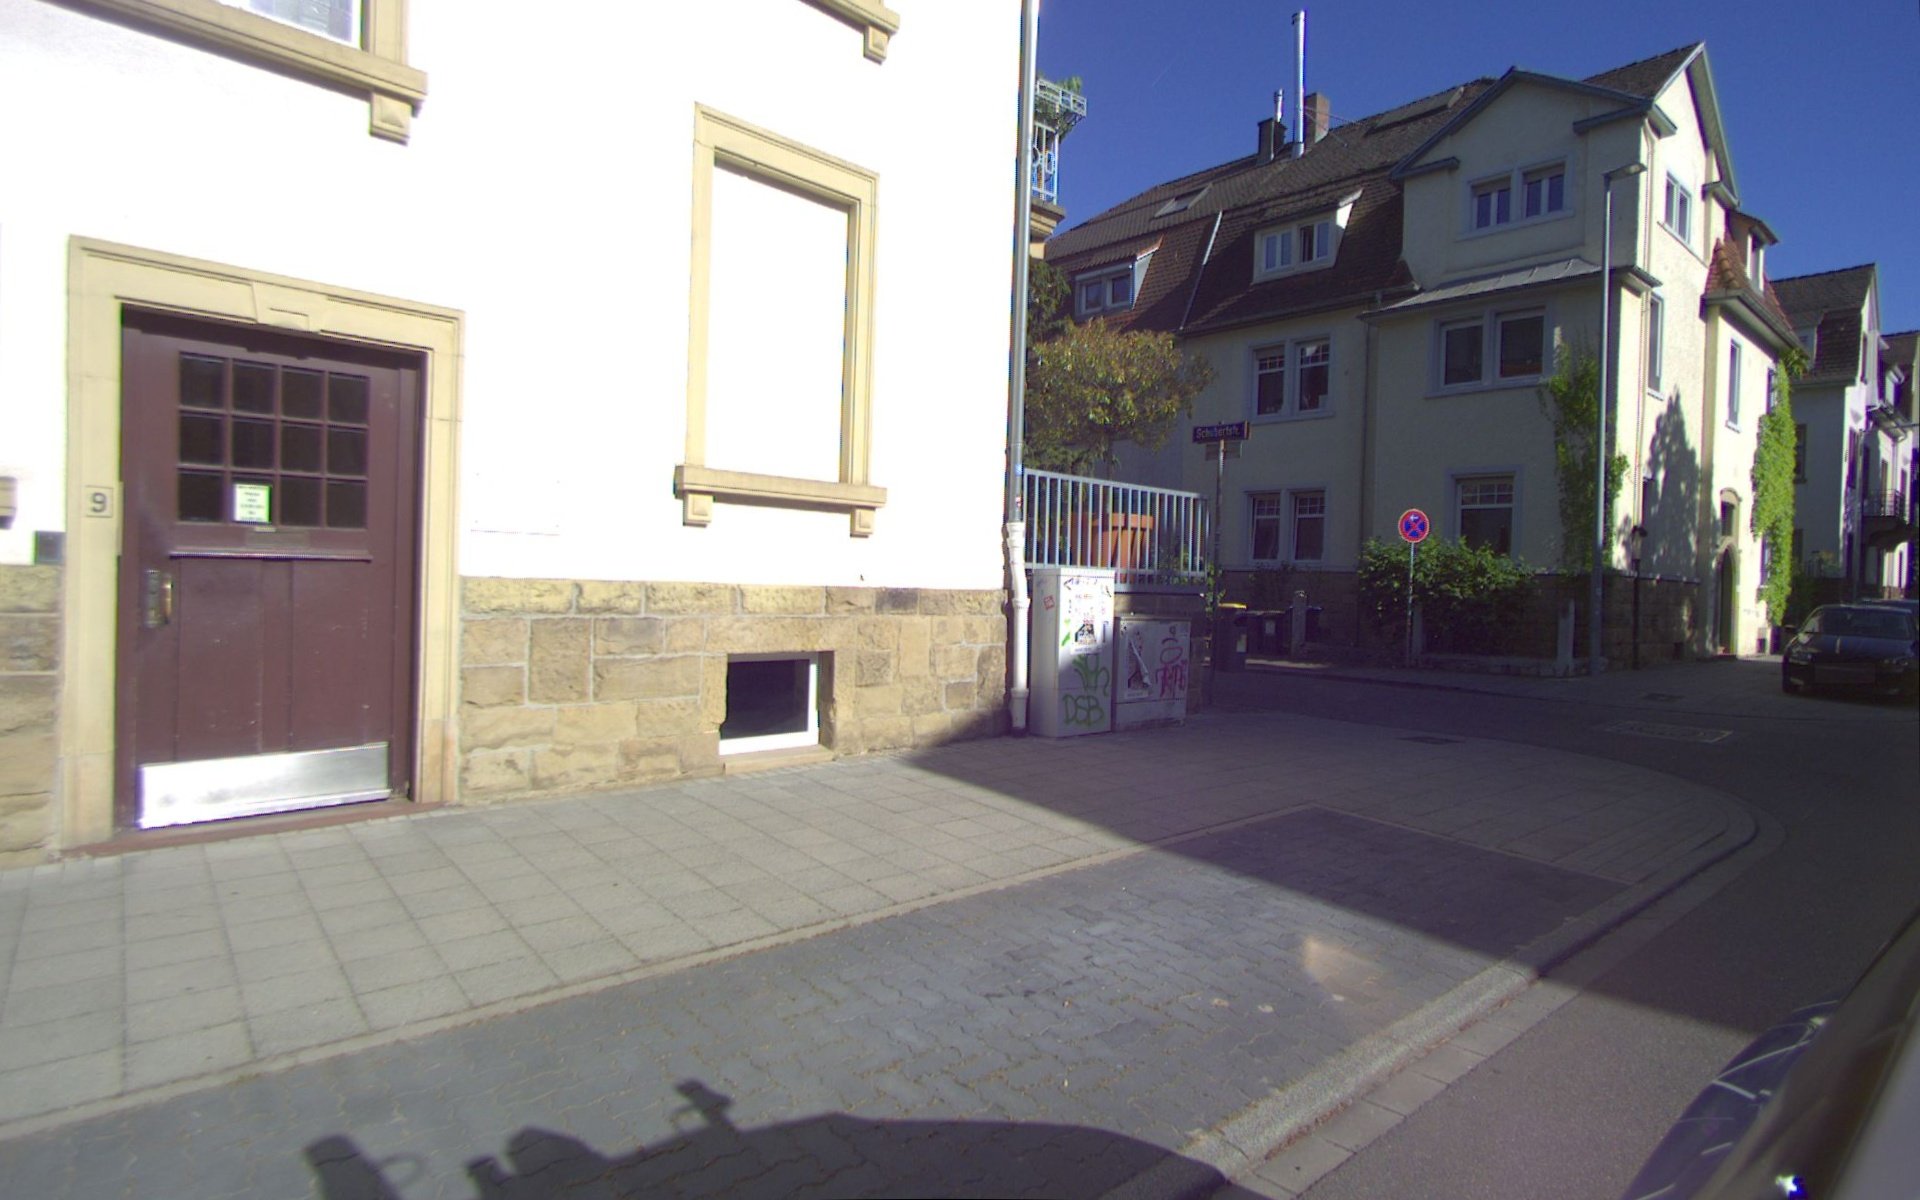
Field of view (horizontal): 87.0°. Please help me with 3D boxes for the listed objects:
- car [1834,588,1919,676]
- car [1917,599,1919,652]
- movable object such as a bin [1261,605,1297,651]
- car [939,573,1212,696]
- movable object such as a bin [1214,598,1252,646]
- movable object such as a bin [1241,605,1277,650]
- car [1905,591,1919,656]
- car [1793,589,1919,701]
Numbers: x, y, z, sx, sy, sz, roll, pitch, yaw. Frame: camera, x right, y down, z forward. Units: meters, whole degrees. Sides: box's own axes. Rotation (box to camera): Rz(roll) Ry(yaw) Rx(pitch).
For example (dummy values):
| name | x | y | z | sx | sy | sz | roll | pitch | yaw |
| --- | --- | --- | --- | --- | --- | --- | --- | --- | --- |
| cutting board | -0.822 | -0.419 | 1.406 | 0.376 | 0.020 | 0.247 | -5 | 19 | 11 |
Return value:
| name | x | y | z | sx | sy | sz | roll | pitch | yaw |
| --- | --- | --- | --- | --- | --- | --- | --- | --- | --- |
| car | 19.187 | 0.590 | 20.387 | 4.291 | 1.539 | 1.795 | -1 | 3 | -41 |
| car | 27.310 | 0.604 | 27.467 | 3.409 | 1.568 | 1.578 | -1 | 3 | -41 |
| movable object such as a bin | 6.936 | 0.606 | 21.989 | 0.566 | 0.964 | 0.519 | -1 | -1 | -41 |
| car | 1.656 | 0.407 | 15.539 | 1.762 | 1.610 | 3.991 | -2 | 3 | -43 |
| movable object such as a bin | 6.142 | 0.490 | 22.761 | 0.655 | 1.035 | 0.519 | -1 | -1 | -41 |
| movable object such as a bin | 6.636 | 0.611 | 22.458 | 0.566 | 0.964 | 0.519 | -1 | -1 | -41 |
| car | 23.996 | 0.565 | 24.128 | 4.121 | 1.453 | 1.713 | -1 | 4 | -41 |
| car | 15.085 | 0.648 | 16.655 | 3.936 | 1.539 | 1.664 | -1 | 3 | -44 |
